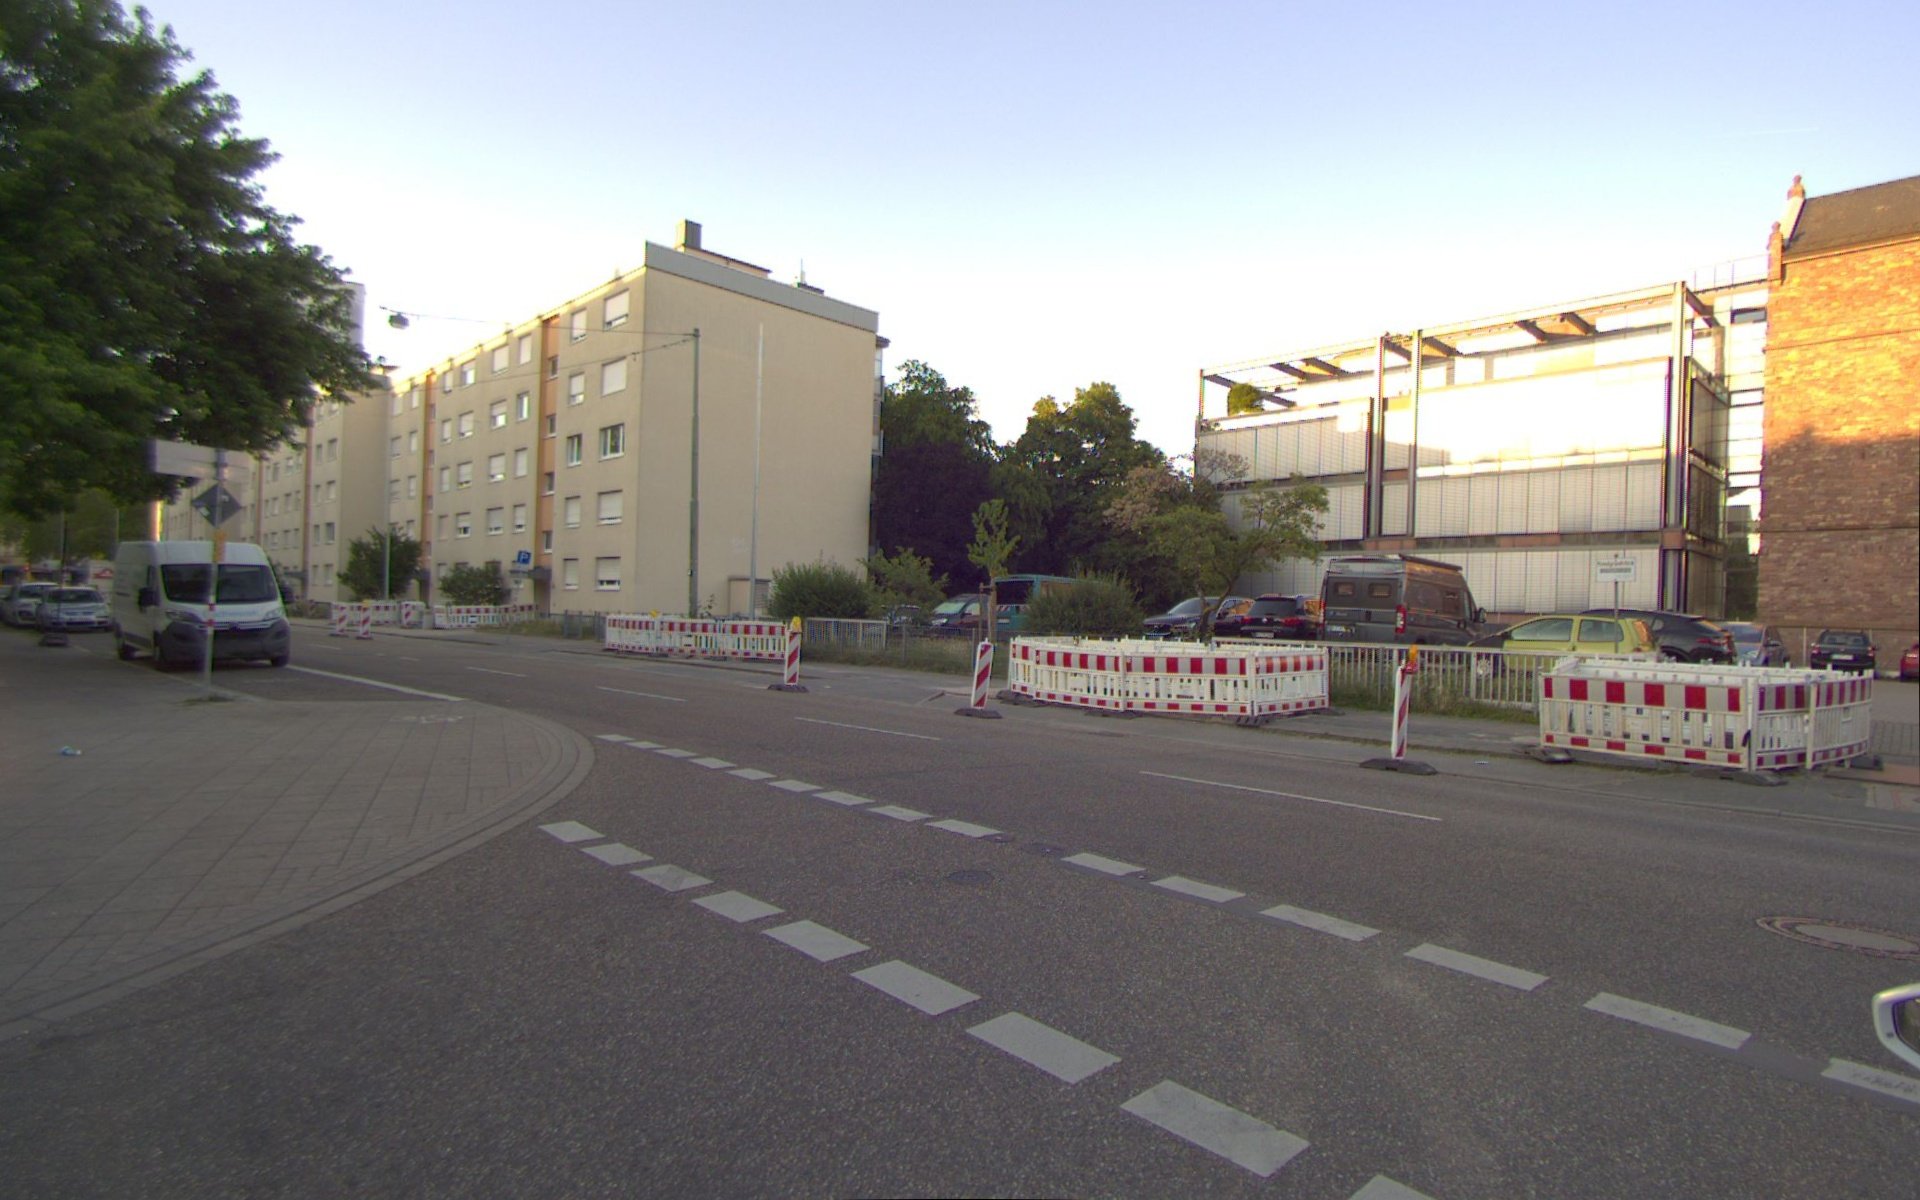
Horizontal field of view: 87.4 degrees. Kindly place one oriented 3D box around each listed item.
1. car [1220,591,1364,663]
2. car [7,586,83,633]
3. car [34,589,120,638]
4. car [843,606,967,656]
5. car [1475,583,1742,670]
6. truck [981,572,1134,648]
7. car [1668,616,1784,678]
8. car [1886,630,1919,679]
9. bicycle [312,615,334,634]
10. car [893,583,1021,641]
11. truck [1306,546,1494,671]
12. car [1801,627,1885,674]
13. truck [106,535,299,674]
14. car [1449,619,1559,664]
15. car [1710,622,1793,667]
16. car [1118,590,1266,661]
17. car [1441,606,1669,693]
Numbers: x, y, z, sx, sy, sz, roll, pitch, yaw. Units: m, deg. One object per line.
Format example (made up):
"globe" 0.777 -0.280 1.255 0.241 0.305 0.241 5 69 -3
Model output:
"car" 8.627 0.685 25.930 1.973 1.715 3.976 1 -1 44
"car" -33.691 0.310 36.955 3.872 1.625 1.752 1 1 43
"car" -29.455 0.411 33.472 3.872 1.503 1.752 1 1 43
"car" -1.929 1.127 36.137 4.198 1.669 1.974 2 -1 -44
"car" 13.710 0.518 21.476 1.563 1.659 4.542 2 -1 -41
"truck" 3.027 0.343 30.540 4.477 2.118 2.087 2 -1 -41
"car" 22.033 1.322 28.844 4.334 1.597 1.974 2 -1 -43
"car" 33.023 1.853 34.214 4.150 1.558 1.878 2 -1 -43
"bicycle" -38.716 1.489 61.067 2.205 1.121 0.615 1 -1 45
"car" -0.056 0.440 34.328 4.198 1.850 1.974 2 -1 -44
"truck" 10.526 0.229 23.855 4.938 2.651 2.312 2 -1 -43
"car" 31.825 1.783 36.160 4.150 1.558 1.878 2 -1 -43
"truck" -15.599 0.055 20.528 5.959 2.455 2.097 1 0 42
"car" 17.896 1.333 32.940 4.334 1.323 1.921 2 -1 -43
"car" 29.931 1.671 37.948 4.150 1.558 1.878 2 -1 -43
"car" 6.361 0.676 27.242 1.973 1.750 4.274 1 -1 44
"car" 11.777 0.928 20.029 1.625 1.523 3.599 2 -1 -41
